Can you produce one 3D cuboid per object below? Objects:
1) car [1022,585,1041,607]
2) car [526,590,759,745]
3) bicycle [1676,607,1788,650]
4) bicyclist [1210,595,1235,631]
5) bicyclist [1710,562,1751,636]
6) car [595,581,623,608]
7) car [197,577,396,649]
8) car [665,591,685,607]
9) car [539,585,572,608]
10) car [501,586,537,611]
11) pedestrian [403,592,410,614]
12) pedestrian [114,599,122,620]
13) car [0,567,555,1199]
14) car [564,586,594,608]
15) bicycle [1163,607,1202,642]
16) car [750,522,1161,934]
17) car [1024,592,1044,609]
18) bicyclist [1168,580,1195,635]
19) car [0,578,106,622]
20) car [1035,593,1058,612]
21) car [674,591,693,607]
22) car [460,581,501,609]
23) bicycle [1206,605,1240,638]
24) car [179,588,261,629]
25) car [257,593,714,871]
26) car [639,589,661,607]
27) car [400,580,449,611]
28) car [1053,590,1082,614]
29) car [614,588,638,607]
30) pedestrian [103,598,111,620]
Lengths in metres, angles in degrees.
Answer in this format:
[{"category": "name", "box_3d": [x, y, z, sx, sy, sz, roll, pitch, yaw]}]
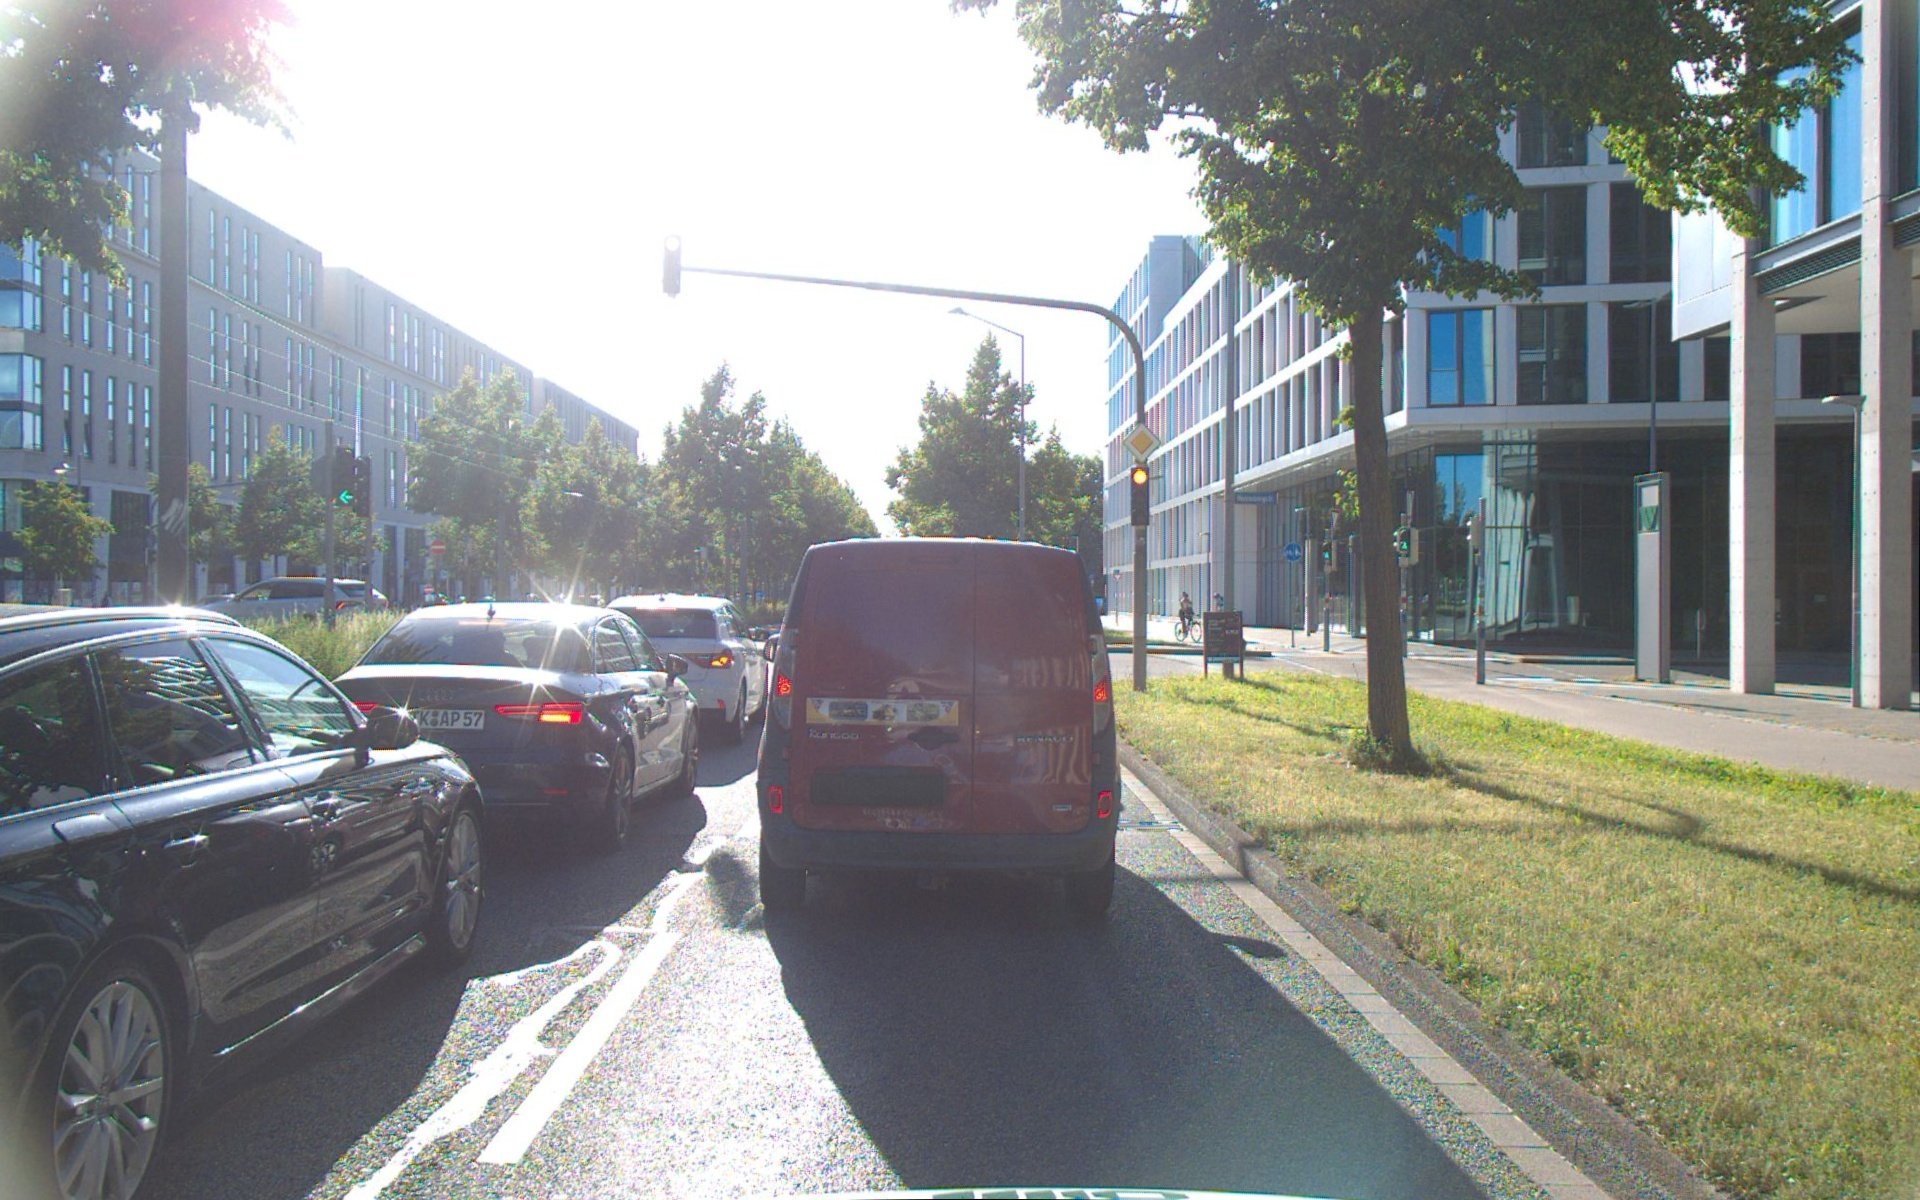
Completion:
[{"category": "car", "box_3d": [8.586, -0.503, 198.461, 1.953, 2.540, 4.986, 0, 0, -1]}, {"category": "car", "box_3d": [-3.223, 0.627, 17.519, 1.767, 1.451, 3.900, 0, 0, -1]}, {"category": "bicycle", "box_3d": [22.523, 0.813, 48.314, 2.879, 1.211, 0.818, 0, 0, 14]}, {"category": "bicyclist", "box_3d": [9.506, 0.475, 59.879, 0.801, 1.297, 0.683, 0, 0, 1]}, {"category": "bicyclist", "box_3d": [22.508, -0.028, 48.329, 0.920, 2.129, 0.818, 0, 0, 14]}, {"category": "car", "box_3d": [-35.596, -0.549, 167.816, 1.953, 2.653, 3.999, 0, 0, -1]}, {"category": "car", "box_3d": [-14.508, 0.259, 36.159, 4.115, 1.518, 1.520, 0, 0, 21]}, {"category": "car", "box_3d": [-37.348, -0.194, 216.675, 1.953, 2.049, 3.999, 0, 0, -1]}, {"category": "car", "box_3d": [-36.362, -0.329, 148.773, 1.953, 2.049, 3.999, 0, 0, -1]}, {"category": "car", "box_3d": [-36.241, -0.134, 135.946, 1.953, 2.049, 3.999, 0, 0, -1]}, {"category": "pedestrian", "box_3d": [-44.602, 0.244, 133.308, 0.458, 1.775, 0.479, 0, 0, -1]}, {"category": "pedestrian", "box_3d": [-42.840, 0.488, 84.177, 0.248, 1.104, 0.289, 0, 0, -1]}, {"category": "car", "box_3d": [-2.689, 0.685, 5.046, 1.836, 1.510, 4.965, 0, 0, -2]}, {"category": "car", "box_3d": [-36.379, -0.306, 157.873, 1.953, 2.049, 3.999, 0, 0, -1]}, {"category": "bicycle", "box_3d": [8.027, 0.870, 59.853, 0.799, 1.211, 2.949, 0, 0, -5]}, {"category": "car", "box_3d": [-0.049, 0.558, 9.296, 1.804, 1.812, 3.999, 0, 0, -1]}, {"category": "car", "box_3d": [8.072, 0.078, 179.935, 1.953, 1.813, 3.999, 0, 0, -1]}, {"category": "bicyclist", "box_3d": [8.013, 0.267, 59.869, 0.799, 1.981, 1.001, 0, 0, -5]}, {"category": "car", "box_3d": [-33.196, -0.025, 60.652, 1.729, 1.546, 3.999, 0, 0, -1]}, {"category": "car", "box_3d": [8.426, 0.245, 160.740, 1.953, 1.813, 3.999, 0, 0, -1]}, {"category": "car", "box_3d": [-37.160, -0.171, 222.302, 1.953, 2.049, 3.999, 0, 0, -1]}, {"category": "car", "box_3d": [-35.831, -0.372, 123.640, 1.953, 2.049, 3.999, 0, 0, -1]}, {"category": "bicycle", "box_3d": [9.510, 0.752, 59.923, 0.801, 1.134, 2.846, 0, 0, 0]}, {"category": "car", "box_3d": [-34.742, 0.380, 77.772, 1.953, 1.845, 4.369, 0, 0, -1]}, {"category": "car", "box_3d": [-2.813, 0.686, 10.866, 1.804, 1.451, 4.338, 0, 0, -1]}, {"category": "car", "box_3d": [-37.209, -0.235, 198.660, 1.953, 2.049, 3.999, 0, 0, -1]}, {"category": "car", "box_3d": [-35.281, -0.304, 109.110, 1.953, 2.049, 3.999, 0, 0, -1]}, {"category": "car", "box_3d": [8.329, 0.155, 128.221, 1.953, 1.813, 3.999, 0, 0, -1]}, {"category": "car", "box_3d": [-36.713, -0.258, 181.854, 1.953, 2.049, 3.999, 0, 0, -1]}, {"category": "pedestrian", "box_3d": [-43.377, 0.457, 84.103, 0.248, 1.104, 0.260, 0, 0, -1]}]
